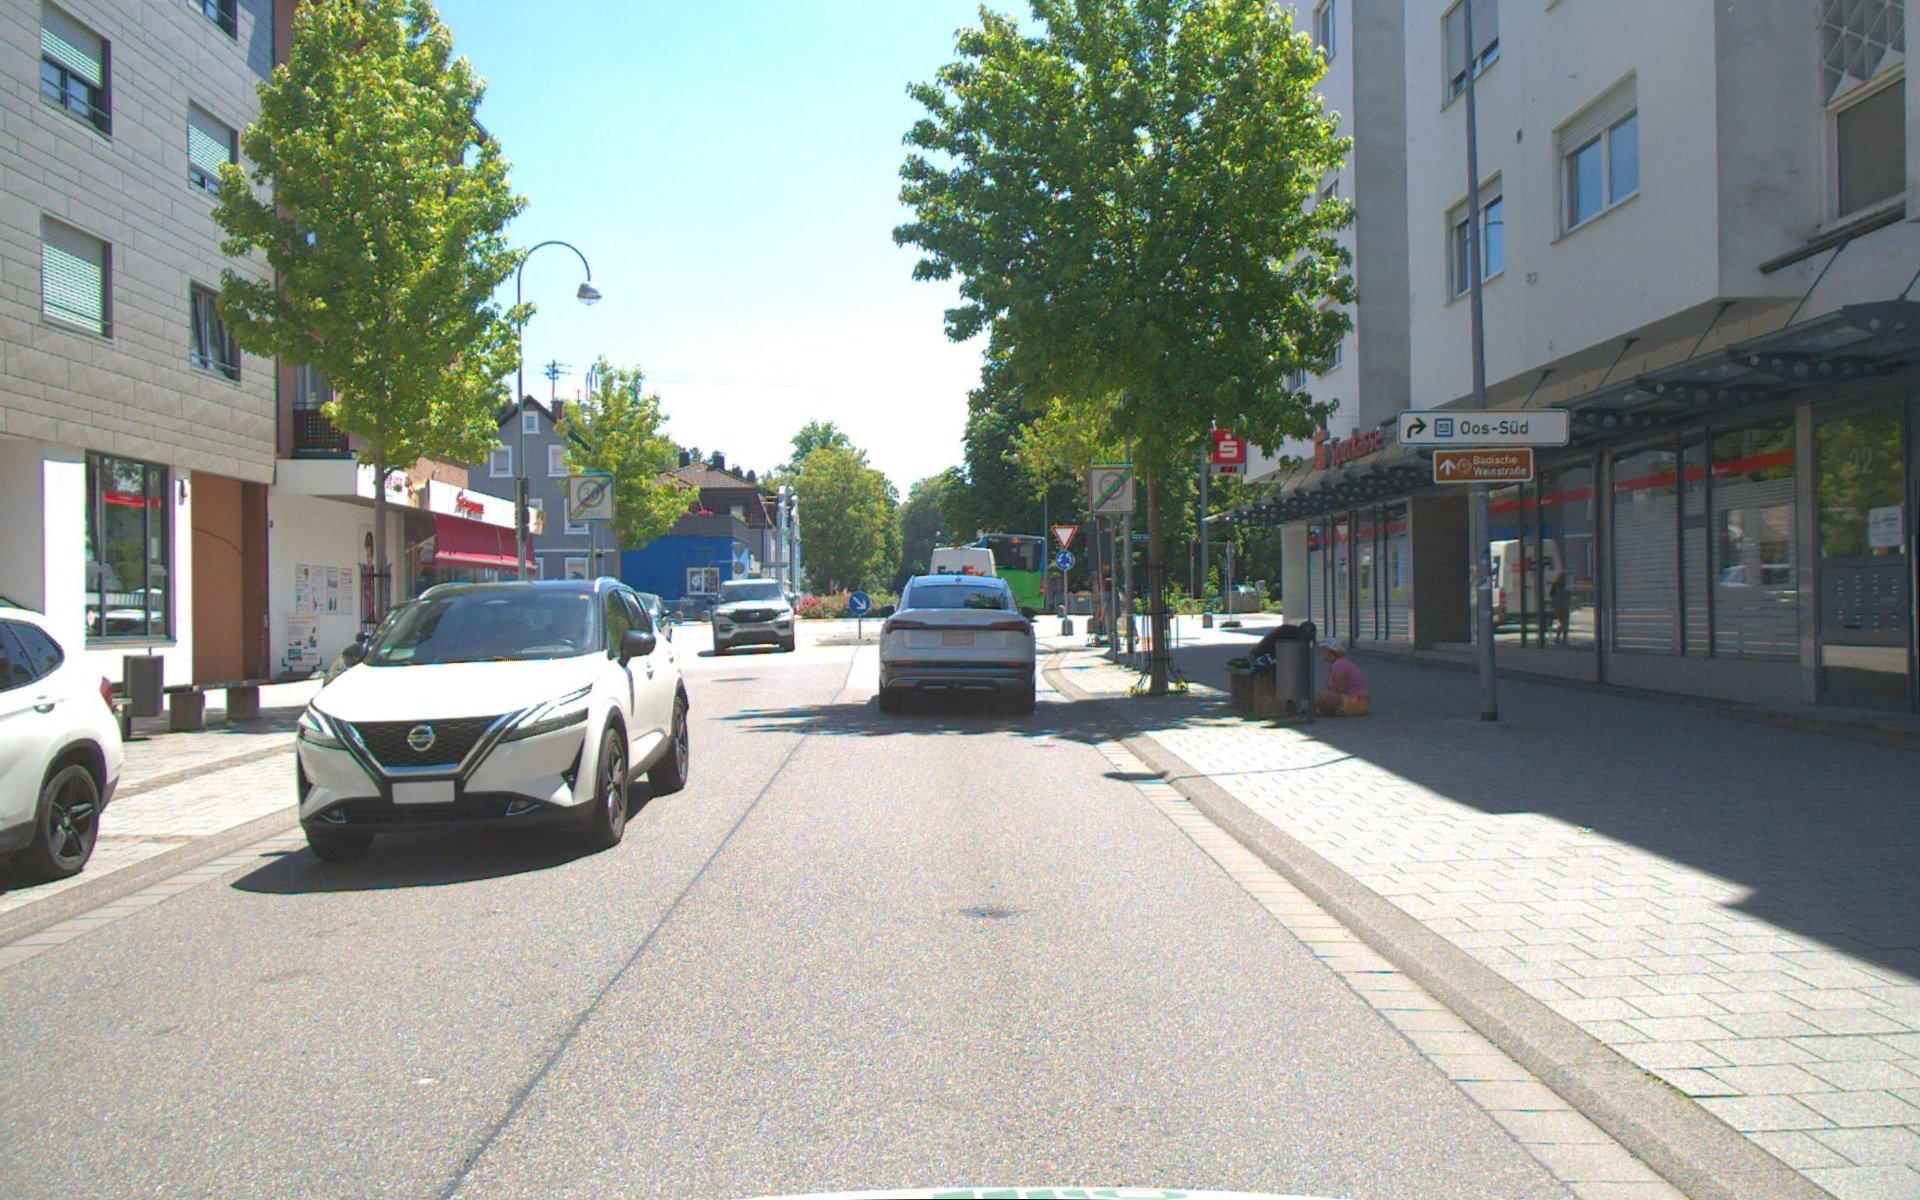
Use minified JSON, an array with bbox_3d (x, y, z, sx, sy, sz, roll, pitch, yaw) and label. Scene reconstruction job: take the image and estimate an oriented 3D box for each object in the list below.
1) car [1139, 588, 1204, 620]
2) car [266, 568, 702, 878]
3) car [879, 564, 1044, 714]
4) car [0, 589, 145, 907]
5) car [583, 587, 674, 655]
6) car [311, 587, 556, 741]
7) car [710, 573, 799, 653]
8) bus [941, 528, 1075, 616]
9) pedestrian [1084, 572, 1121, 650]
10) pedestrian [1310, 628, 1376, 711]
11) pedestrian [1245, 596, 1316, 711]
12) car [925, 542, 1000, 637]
[{"bbox_3d":[11.101,0.193,86.978,2.998,1.580,1.628,-1,0,-15],"label":"car"},{"bbox_3d":[-2.926,0.657,11.173,1.735,1.661,4.299,-1,0,-1],"label":"car"},{"bbox_3d":[-0.003,0.428,20.963,1.859,1.691,4.409,1,0,-1],"label":"car"},{"bbox_3d":[-5.722,0.754,7.804,1.660,1.620,4.299,1,0,-1],"label":"car"},{"bbox_3d":[-7.942,0.481,39.878,1.634,1.512,4.057,2,0,-5],"label":"car"},{"bbox_3d":[-5.681,0.629,18.262,1.588,1.499,3.548,-1,0,-1],"label":"car"},{"bbox_3d":[-5.038,0.283,40.993,1.863,1.784,4.753,-2,0,-4],"label":"car"},{"bbox_3d":[1.724,-1.010,71.110,3.634,3.227,18.049,1,0,-5],"label":"bus"},{"bbox_3d":[3.042,0.224,35.343,0.717,1.638,0.559,-1,0,0],"label":"pedestrian"},{"bbox_3d":[4.208,0.761,18.174,0.663,0.867,0.538,-2,0,13],"label":"pedestrian"},{"bbox_3d":[3.638,0.603,18.751,0.744,1.262,0.538,-2,0,13],"label":"pedestrian"},{"bbox_3d":[0.039,-0.284,47.266,1.953,2.524,5.483,-1,0,-1],"label":"car"}]
